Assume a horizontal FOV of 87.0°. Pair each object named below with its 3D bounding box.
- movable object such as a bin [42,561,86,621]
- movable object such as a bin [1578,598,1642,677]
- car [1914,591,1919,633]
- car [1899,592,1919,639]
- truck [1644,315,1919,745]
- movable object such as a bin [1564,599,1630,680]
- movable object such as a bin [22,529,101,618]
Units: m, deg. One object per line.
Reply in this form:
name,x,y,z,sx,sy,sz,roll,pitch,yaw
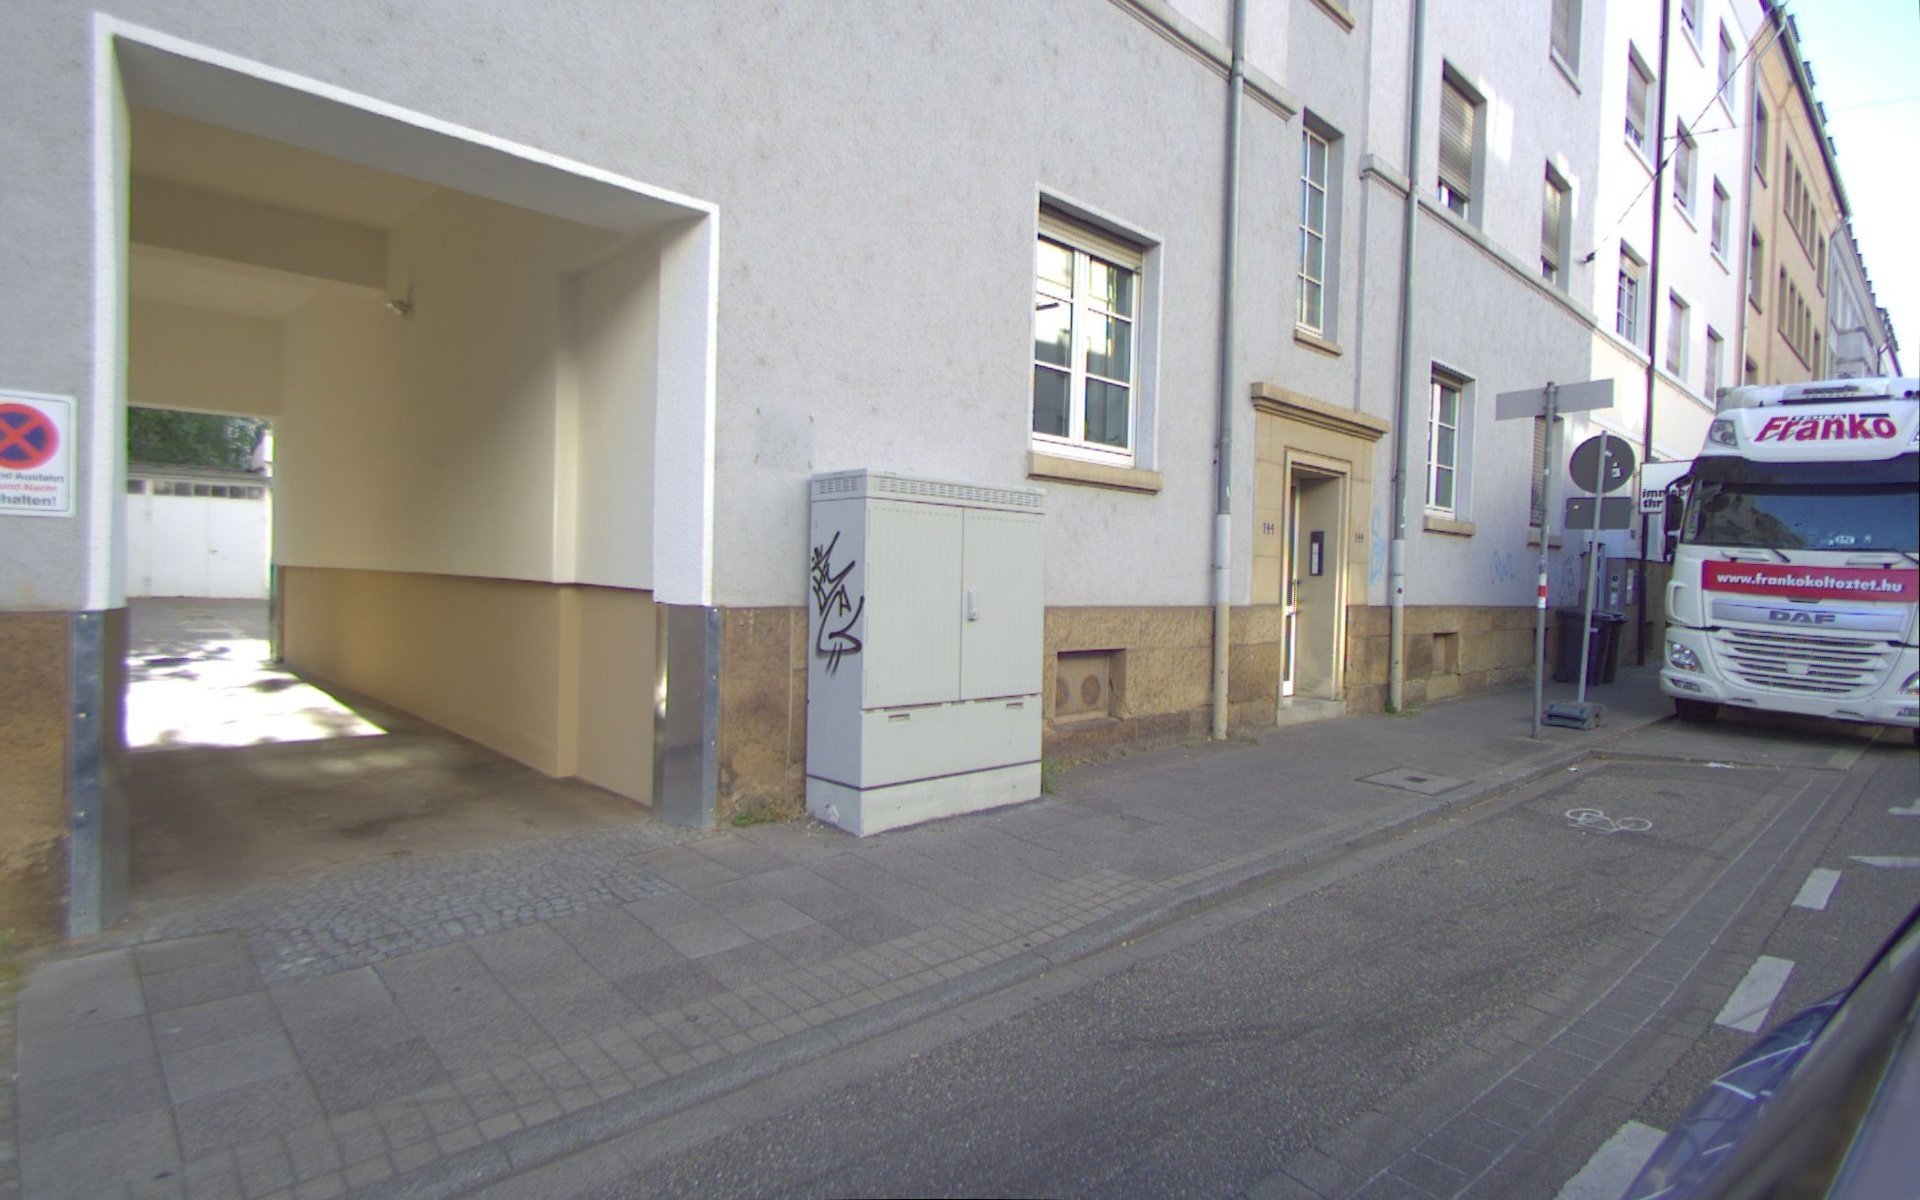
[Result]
movable object such as a bin,-14.358,-0.149,16.216,0.518,0.922,0.580,0,2,-43
movable object such as a bin,9.669,0.542,15.055,0.560,1.107,0.665,0,2,-43
car,37.696,0.460,38.644,4.080,1.551,1.681,0,0,-44
car,33.525,0.527,34.747,4.080,1.551,1.681,0,0,-44
truck,12.594,-0.680,13.896,11.621,3.975,2.778,0,2,-44
movable object such as a bin,9.190,0.550,14.604,0.560,1.107,0.665,0,2,-43
movable object such as a bin,-15.134,-0.456,17.035,0.946,1.426,1.597,0,2,-43
